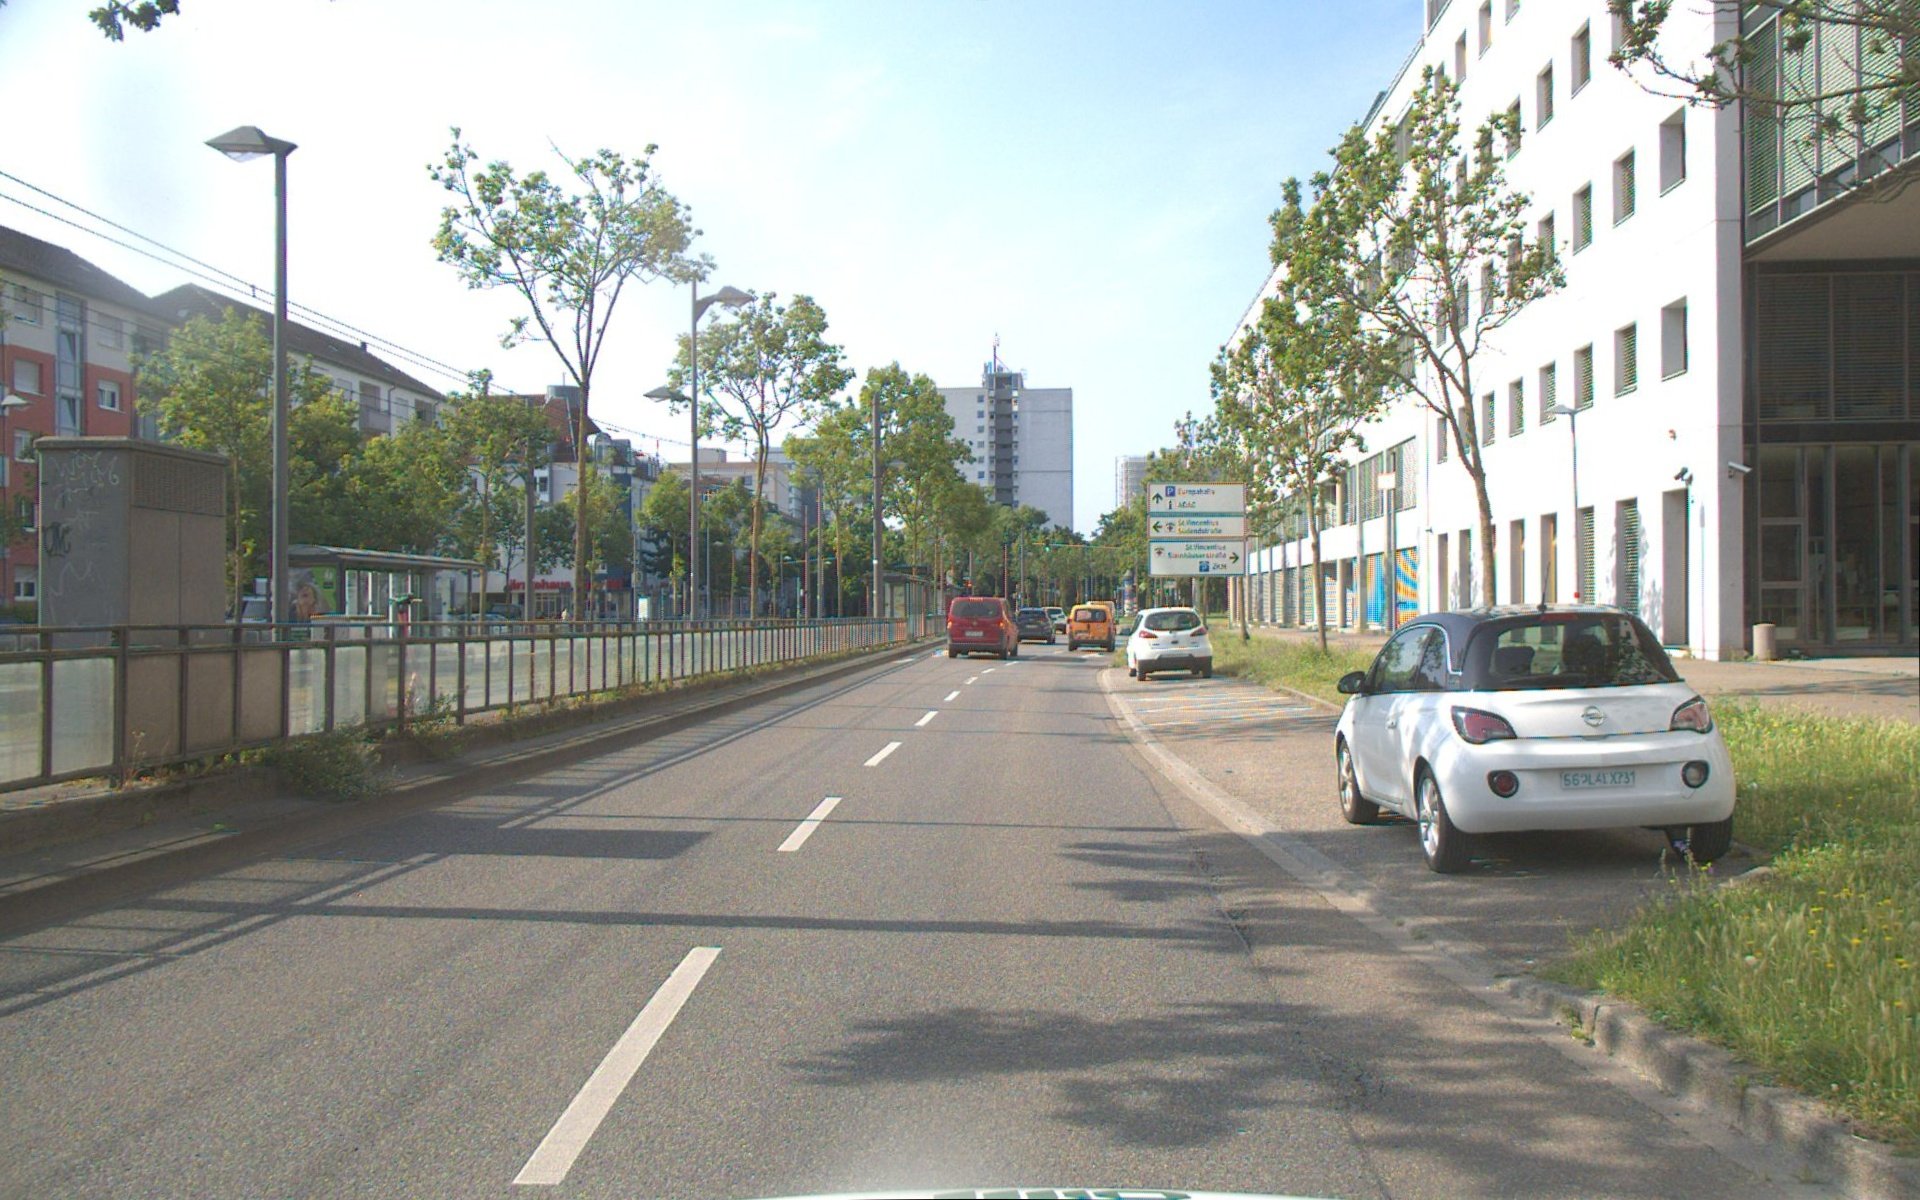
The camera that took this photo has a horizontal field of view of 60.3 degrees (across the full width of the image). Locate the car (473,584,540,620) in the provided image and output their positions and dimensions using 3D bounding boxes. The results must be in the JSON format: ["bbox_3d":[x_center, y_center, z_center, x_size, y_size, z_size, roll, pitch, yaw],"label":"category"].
[{"bbox_3d":[-27.172,0.108,99.279,2.316,2.066,5.313,-1,0,3],"label":"car"}]

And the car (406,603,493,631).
[{"bbox_3d":[-23.535,0.779,76.240,3.917,1.266,1.827,0,0,34],"label":"car"}]

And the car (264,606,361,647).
[{"bbox_3d":[-25.629,1.035,65.619,1.939,1.540,4.282,1,0,3],"label":"car"}]

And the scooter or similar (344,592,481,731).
[{"bbox_3d":[-5.186,0.560,15.711,0.418,1.260,1.259,-1,0,30],"label":"scooter or similar"}]

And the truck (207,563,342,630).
[{"bbox_3d":[-28.684,-0.123,69.557,2.316,2.608,7.243,1,0,3],"label":"truck"}]

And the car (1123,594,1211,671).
[{"bbox_3d":[4.555,0.693,36.799,1.653,1.553,3.852,-2,0,4],"label":"car"}]

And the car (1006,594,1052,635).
[{"bbox_3d":[3.099,0.609,73.217,1.952,1.735,4.002,-1,0,3],"label":"car"}]

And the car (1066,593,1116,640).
[{"bbox_3d":[4.964,0.621,62.790,1.836,1.726,3.975,0,0,4],"label":"car"}]

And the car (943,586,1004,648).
[{"bbox_3d":[0.466,0.519,52.380,1.835,1.886,4.001,0,0,2],"label":"car"}]

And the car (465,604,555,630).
[{"bbox_3d":[-22.366,0.846,82.202,3.904,1.266,1.940,0,0,19],"label":"car"}]

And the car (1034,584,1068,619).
[{"bbox_3d":[5.458,0.088,99.868,1.952,2.049,4.001,-1,0,2],"label":"car"}]

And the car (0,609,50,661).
[{"bbox_3d":[-26.938,0.945,44.997,1.939,1.384,4.070,1,0,3],"label":"car"}]

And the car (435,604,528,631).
[{"bbox_3d":[-23.095,0.839,79.831,3.904,1.266,1.940,0,0,19],"label":"car"}]

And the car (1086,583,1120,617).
[{"bbox_3d":[8.744,-0.009,101.182,1.952,2.049,4.002,-1,0,3],"label":"car"}]

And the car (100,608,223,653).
[{"bbox_3d":[-26.372,0.987,54.769,1.939,1.384,4.070,1,0,3],"label":"car"}]

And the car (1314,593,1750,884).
[{"bbox_3d":[3.496,0.745,10.837,1.684,1.545,3.782,0,0,2],"label":"car"}]
